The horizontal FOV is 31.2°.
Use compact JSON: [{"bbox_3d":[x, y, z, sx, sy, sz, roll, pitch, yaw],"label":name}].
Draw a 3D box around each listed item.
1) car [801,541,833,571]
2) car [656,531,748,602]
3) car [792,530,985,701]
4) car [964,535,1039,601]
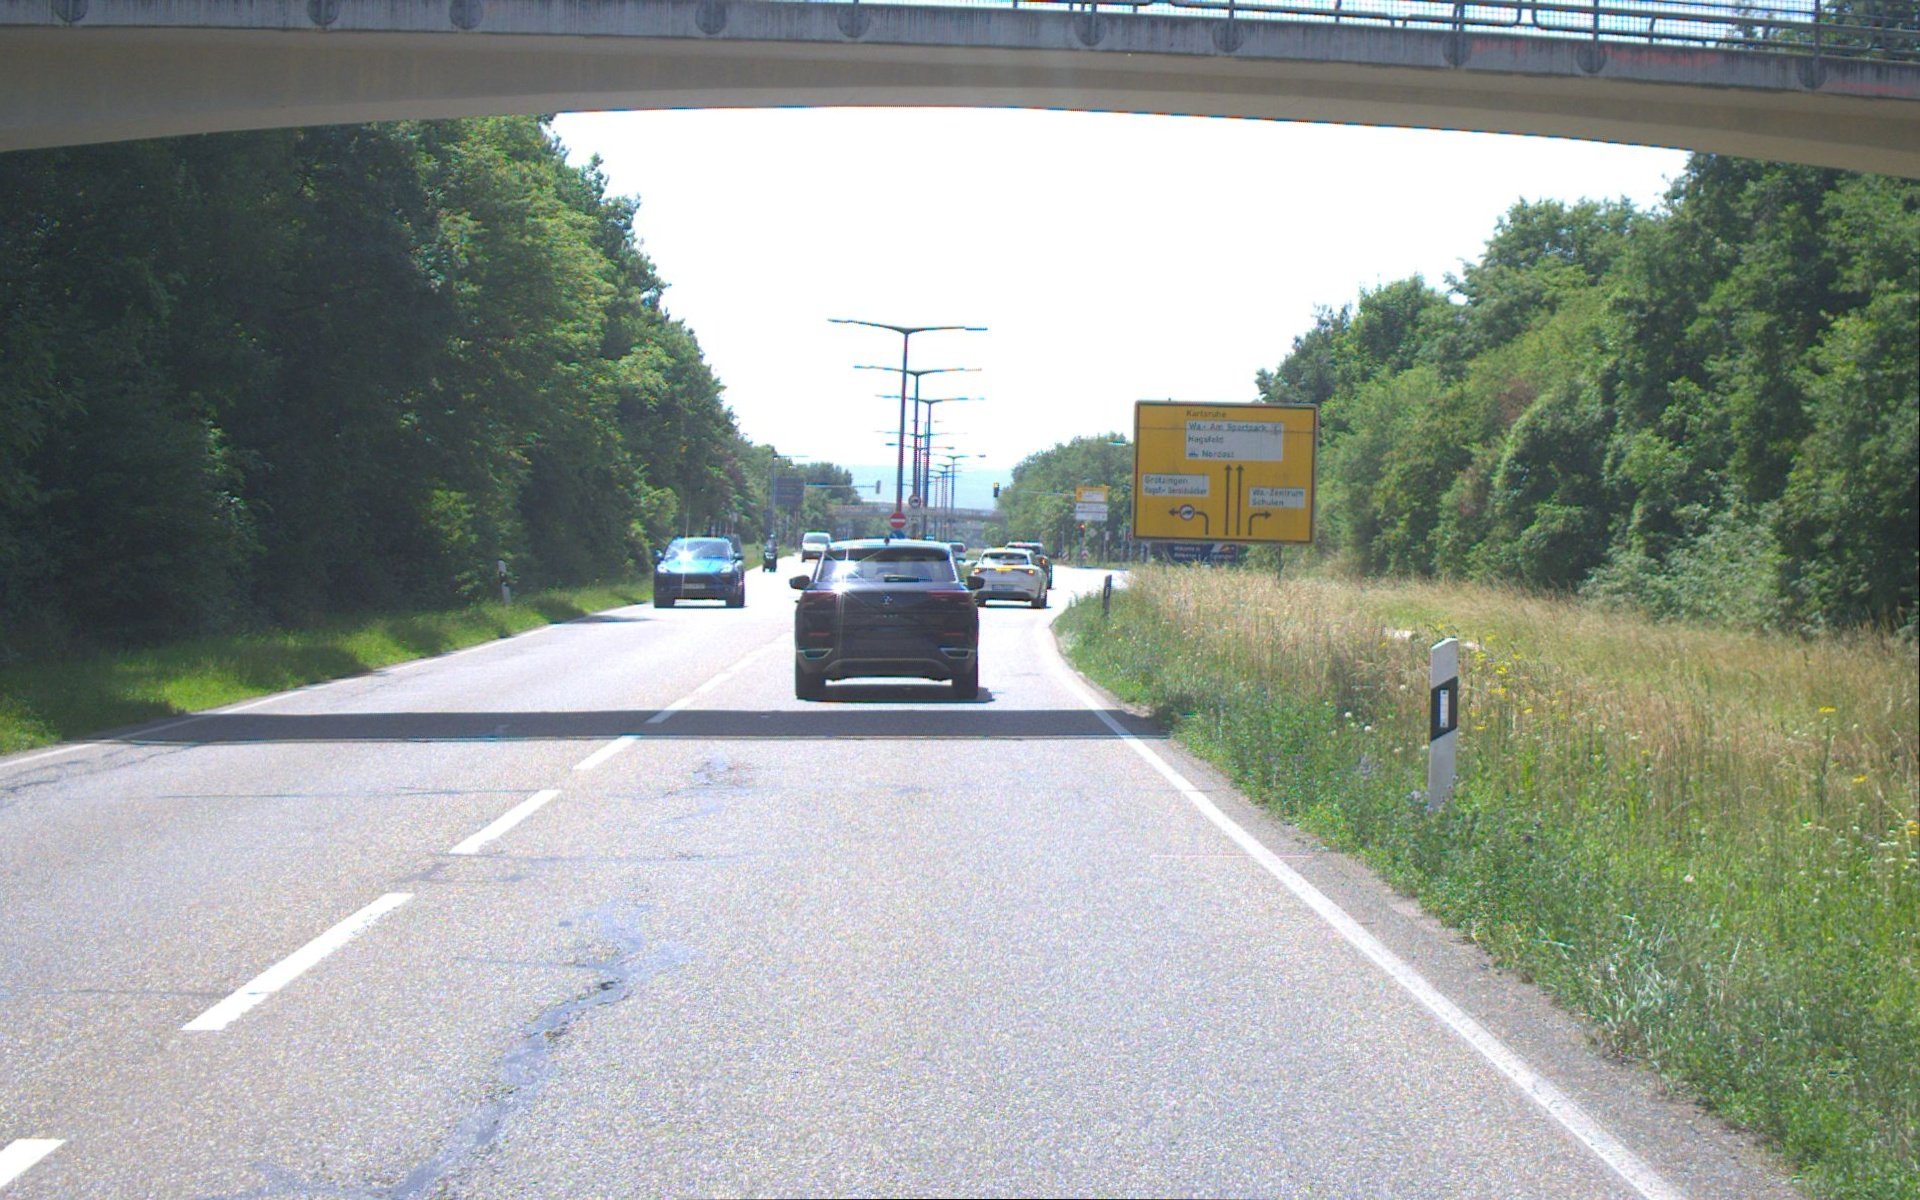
[{"bbox_3d":[-8.247,-2.531,198.555,1.731,1.682,4.095,0,1,-1],"label":"car"},{"bbox_3d":[-5.969,-0.806,79.792,1.823,1.584,4.420,-1,1,0],"label":"car"},{"bbox_3d":[-0.685,0.110,34.178,1.755,1.550,4.000,2,1,0],"label":"car"},{"bbox_3d":[1.034,-0.808,85.122,1.797,1.577,4.000,0,1,1],"label":"car"}]
